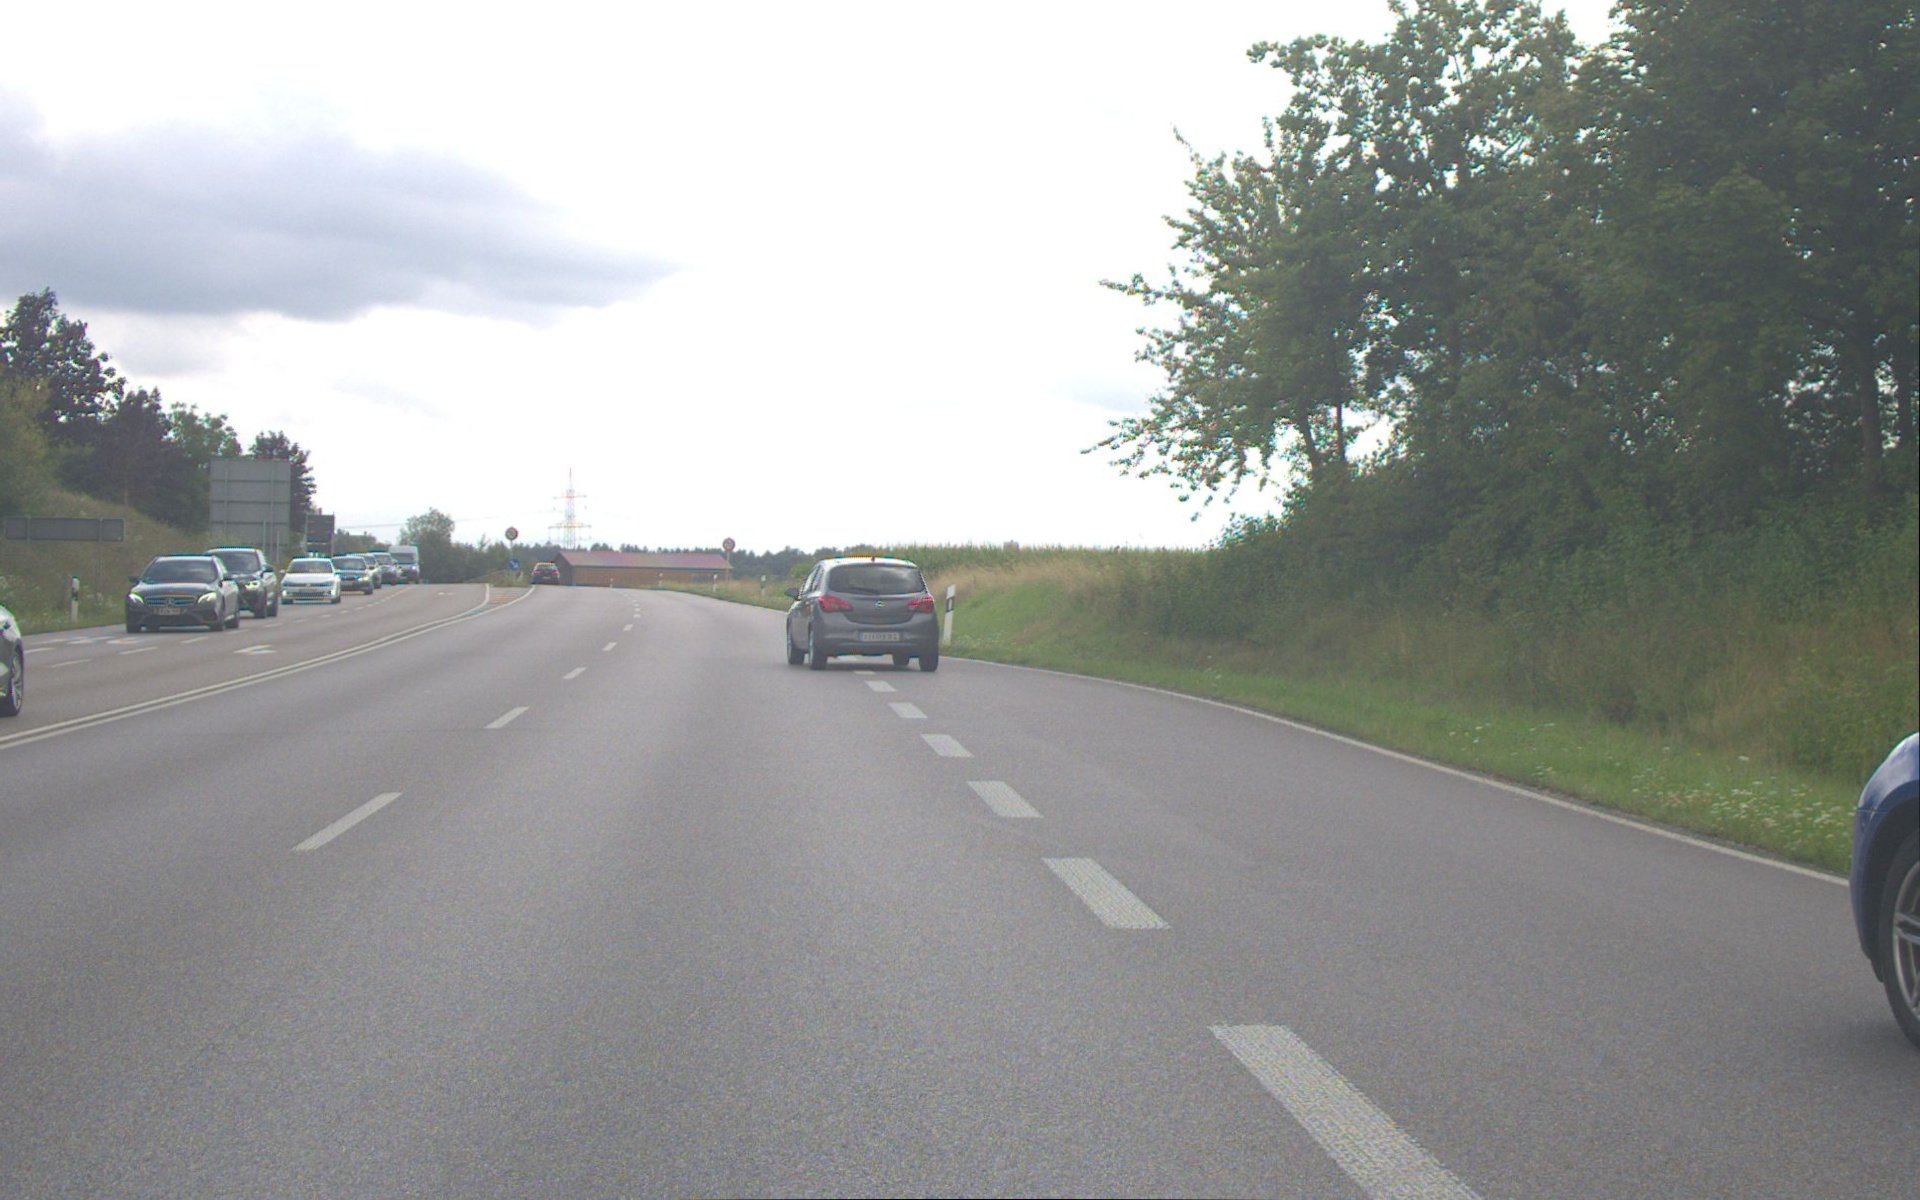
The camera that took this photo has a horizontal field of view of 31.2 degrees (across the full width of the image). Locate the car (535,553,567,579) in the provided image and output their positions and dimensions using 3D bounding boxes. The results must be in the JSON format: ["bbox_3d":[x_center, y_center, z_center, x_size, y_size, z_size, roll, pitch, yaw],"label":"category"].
[{"bbox_3d":[-27.052,-2.258,227.572,1.993,1.709,4.001,0,1,-5],"label":"car"}]

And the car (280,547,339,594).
[{"bbox_3d":[-20.571,-0.945,108.818,1.667,1.437,4.147,0,1,-8],"label":"car"}]

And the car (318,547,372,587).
[{"bbox_3d":[-23.248,-1.264,130.073,1.993,1.503,4.001,0,1,-10],"label":"car"}]

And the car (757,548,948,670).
[{"bbox_3d":[-1.497,0.090,46.323,1.993,1.530,4.001,1,1,-10],"label":"car"}]

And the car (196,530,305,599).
[{"bbox_3d":[-17.166,-0.877,83.388,1.993,1.605,4.994,0,1,-5],"label":"car"}]

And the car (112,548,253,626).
[{"bbox_3d":[-15.367,-0.293,68.172,1.993,1.489,4.993,0,1,-4],"label":"car"}]

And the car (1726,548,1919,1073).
[{"bbox_3d":[4.228,0.675,9.342,1.993,1.565,4.758,2,0,-18],"label":"car"}]

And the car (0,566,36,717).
[{"bbox_3d":[-9.665,0.392,31.074,1.765,1.378,4.545,0,1,-5],"label":"car"}]

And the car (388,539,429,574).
[{"bbox_3d":[-35.594,-2.836,221.891,2.363,2.204,5.924,0,1,-7],"label":"car"}]
